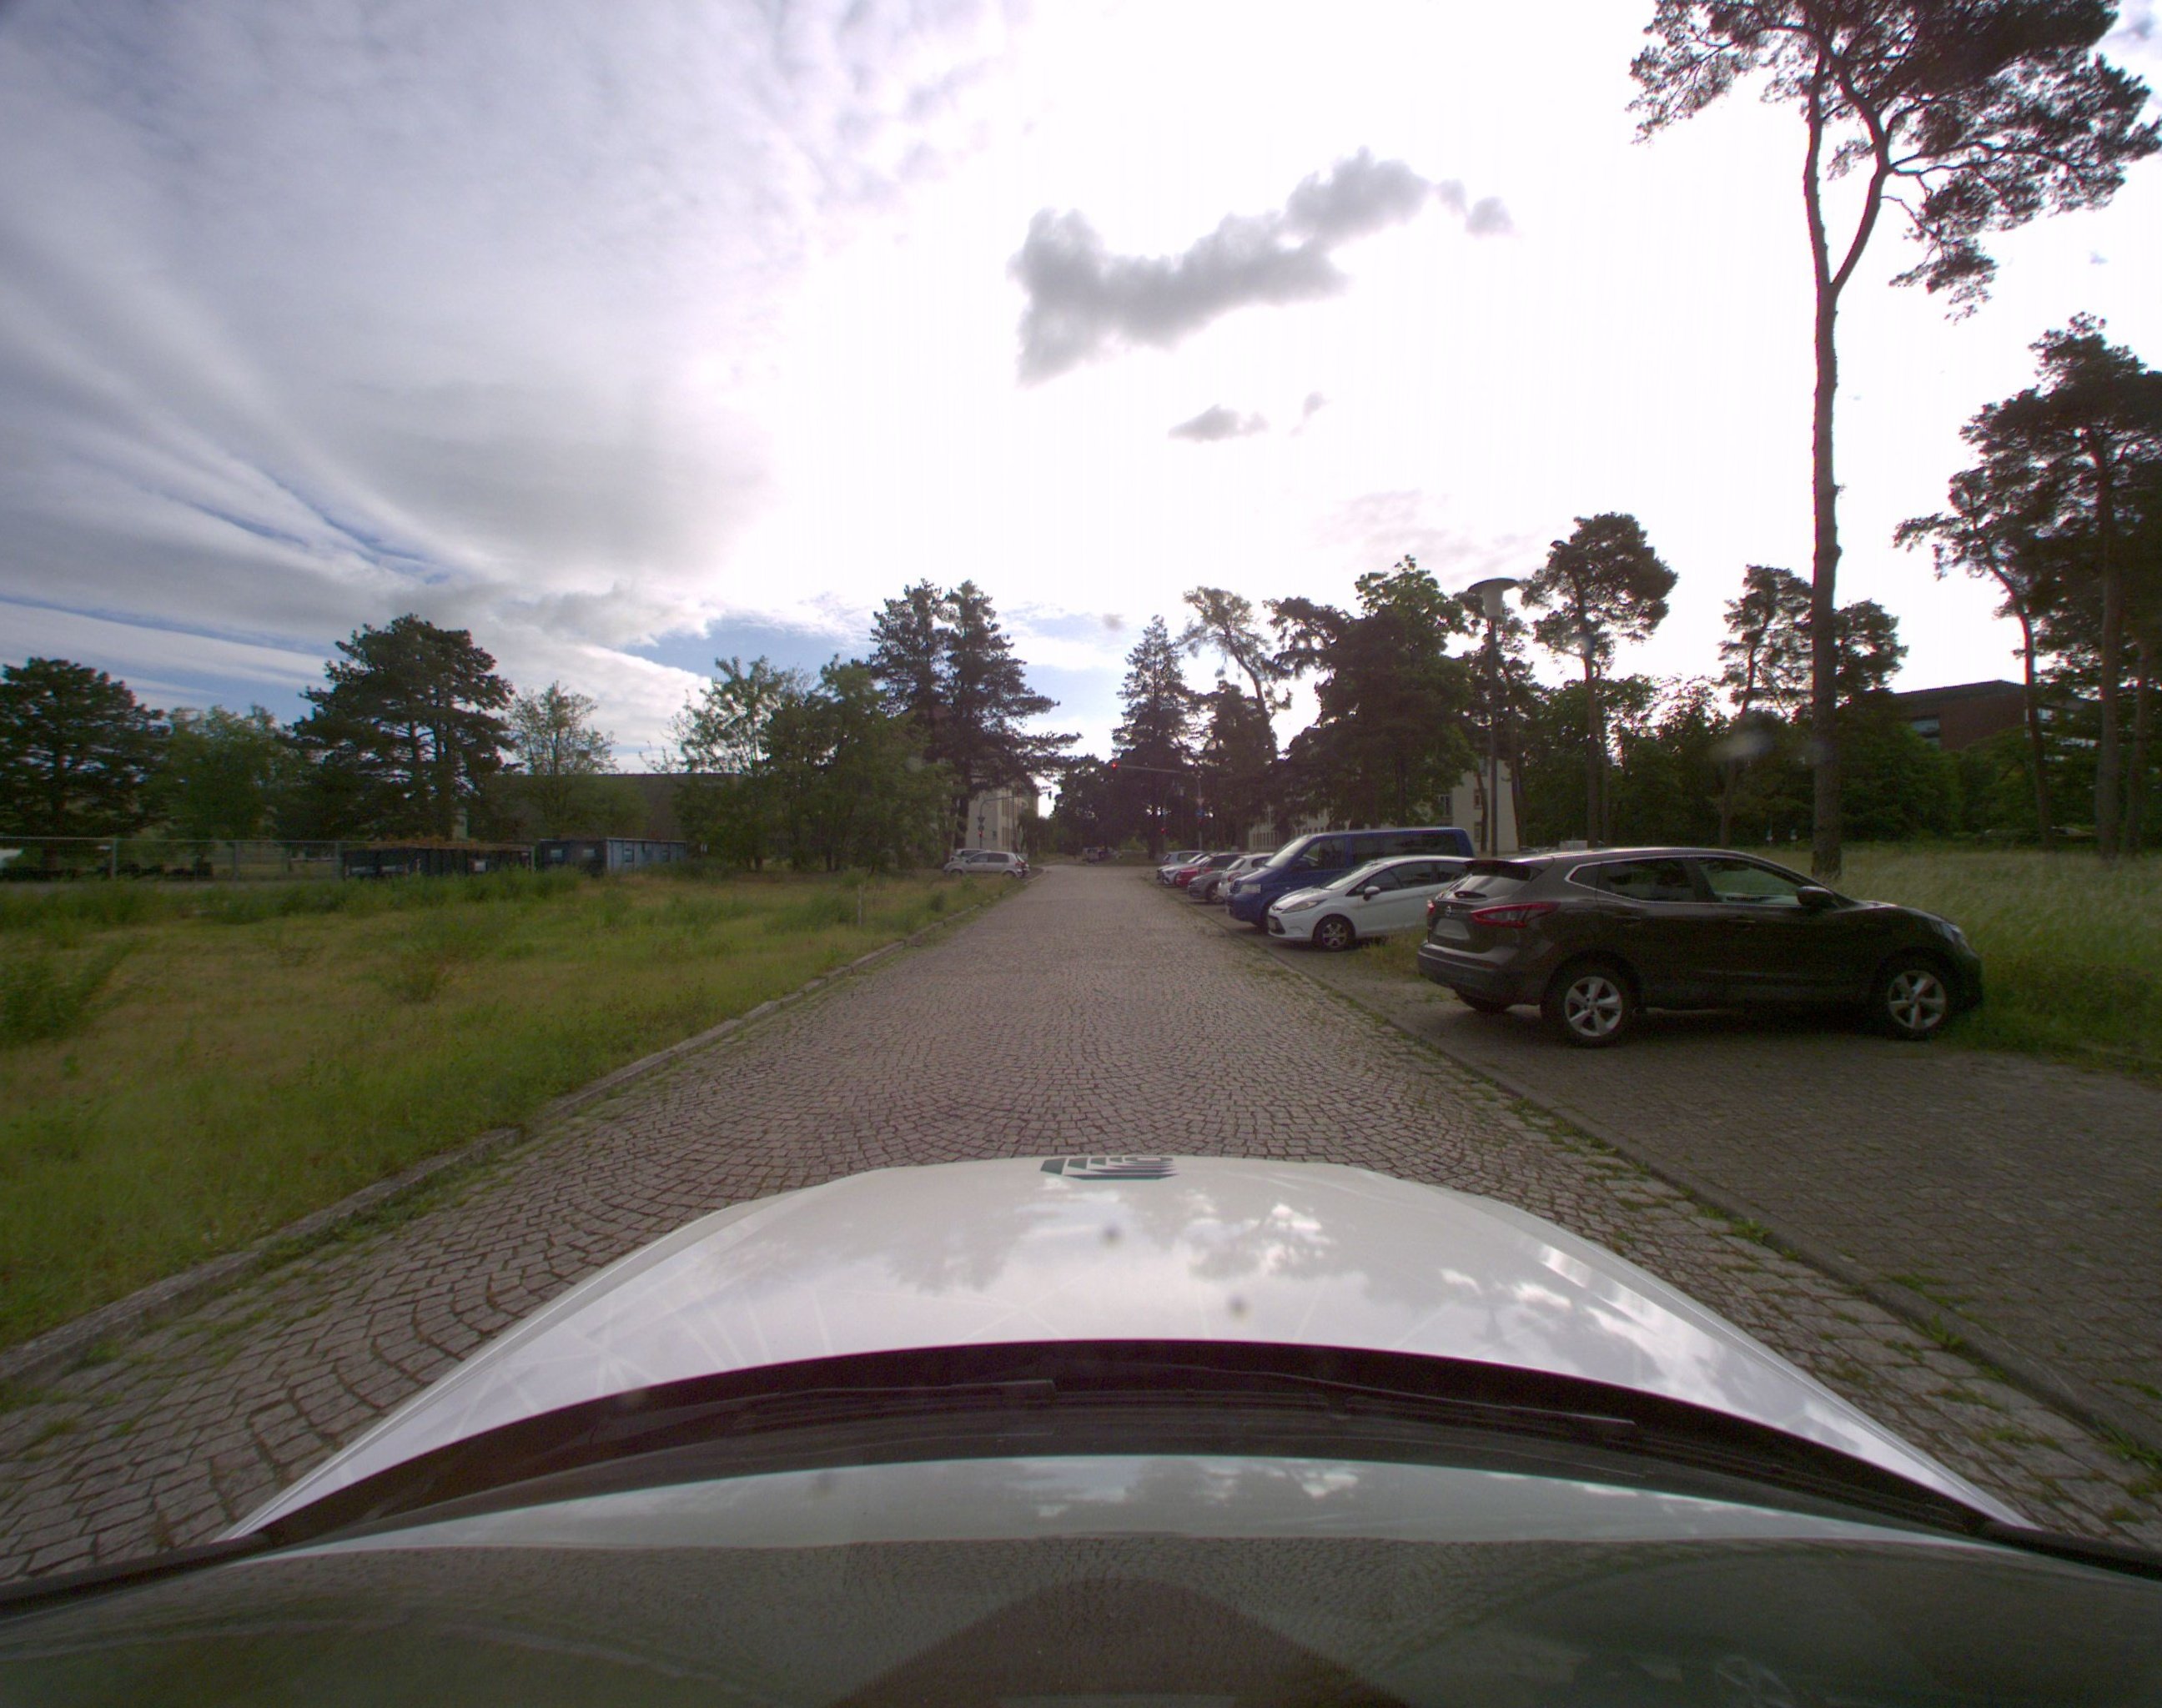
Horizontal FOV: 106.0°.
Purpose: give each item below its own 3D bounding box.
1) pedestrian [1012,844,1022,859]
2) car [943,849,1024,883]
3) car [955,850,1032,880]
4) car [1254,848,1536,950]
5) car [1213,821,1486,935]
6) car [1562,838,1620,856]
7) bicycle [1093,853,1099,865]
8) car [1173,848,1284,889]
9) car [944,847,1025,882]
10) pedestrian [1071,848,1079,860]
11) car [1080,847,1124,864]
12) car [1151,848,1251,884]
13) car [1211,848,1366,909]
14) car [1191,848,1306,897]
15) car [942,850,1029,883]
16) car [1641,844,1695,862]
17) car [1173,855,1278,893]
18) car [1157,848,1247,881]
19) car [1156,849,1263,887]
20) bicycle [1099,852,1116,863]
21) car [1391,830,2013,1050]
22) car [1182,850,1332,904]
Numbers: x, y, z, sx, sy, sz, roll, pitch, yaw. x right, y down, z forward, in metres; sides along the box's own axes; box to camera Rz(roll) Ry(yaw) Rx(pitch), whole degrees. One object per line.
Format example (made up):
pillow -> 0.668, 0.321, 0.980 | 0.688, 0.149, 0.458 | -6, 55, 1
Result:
pedestrian -> -8.211, -0.291, 104.638 | 1.070, 1.959, 1.121 | 1, 0, 1
car -> -4.627, 0.567, 39.080 | 3.711, 1.481, 1.672 | 1, 0, -3
car -> -4.999, 0.612, 46.936 | 4.292, 1.554, 1.808 | -2, 0, -6
car -> 5.159, 0.700, 13.728 | 4.088, 1.478, 1.720 | -2, 0, -3
car -> 5.211, 0.433, 16.273 | 4.782, 2.004, 1.965 | -2, 0, -2
car -> 58.262, -0.810, 93.050 | 5.281, 2.019, 2.106 | 1, 0, 1
bicycle -> 1.594, 0.525, 87.491 | 0.660, 1.171, 1.888 | 1, 0, 1
car -> 5.797, 0.543, 32.322 | 4.093, 1.476, 1.684 | -2, 0, -2
car -> -5.221, 0.540, 44.482 | 4.291, 1.732, 1.650 | -2, 0, -5
pedestrian -> -0.935, -0.038, 136.858 | 1.237, 1.959, 1.119 | 1, 0, -5
car -> 2.775, 0.144, 106.929 | 5.380, 2.101, 2.170 | -1, 0, -12
car -> 5.474, 0.540, 37.452 | 4.229, 1.479, 1.704 | -2, 0, -10
car -> 5.415, 0.615, 21.582 | 3.641, 1.478, 1.765 | -2, 0, 0
car -> 5.556, 0.587, 27.354 | 3.494, 1.487, 1.743 | -2, 0, 0
car -> -4.824, 0.623, 41.677 | 4.292, 1.554, 1.808 | -2, 0, -6
car -> 59.285, -0.089, 82.316 | 4.117, 1.804, 1.901 | 1, 0, 2
car -> 5.269, 0.717, 29.980 | 3.573, 1.223, 1.629 | -2, 0, 1
car -> 5.911, 0.493, 40.005 | 4.128, 1.463, 1.631 | -2, 0, -5
car -> 5.419, 0.575, 34.685 | 4.181, 1.437, 1.751 | -2, 0, -7
bicycle -> 3.013, 0.394, 92.124 | 1.878, 1.171, 0.664 | 1, 0, -5
car -> 5.279, 0.658, 7.372 | 4.192, 1.595, 1.952 | -2, 0, -2
car -> 5.217, 0.654, 24.487 | 4.116, 1.447, 1.766 | -2, 0, 1
